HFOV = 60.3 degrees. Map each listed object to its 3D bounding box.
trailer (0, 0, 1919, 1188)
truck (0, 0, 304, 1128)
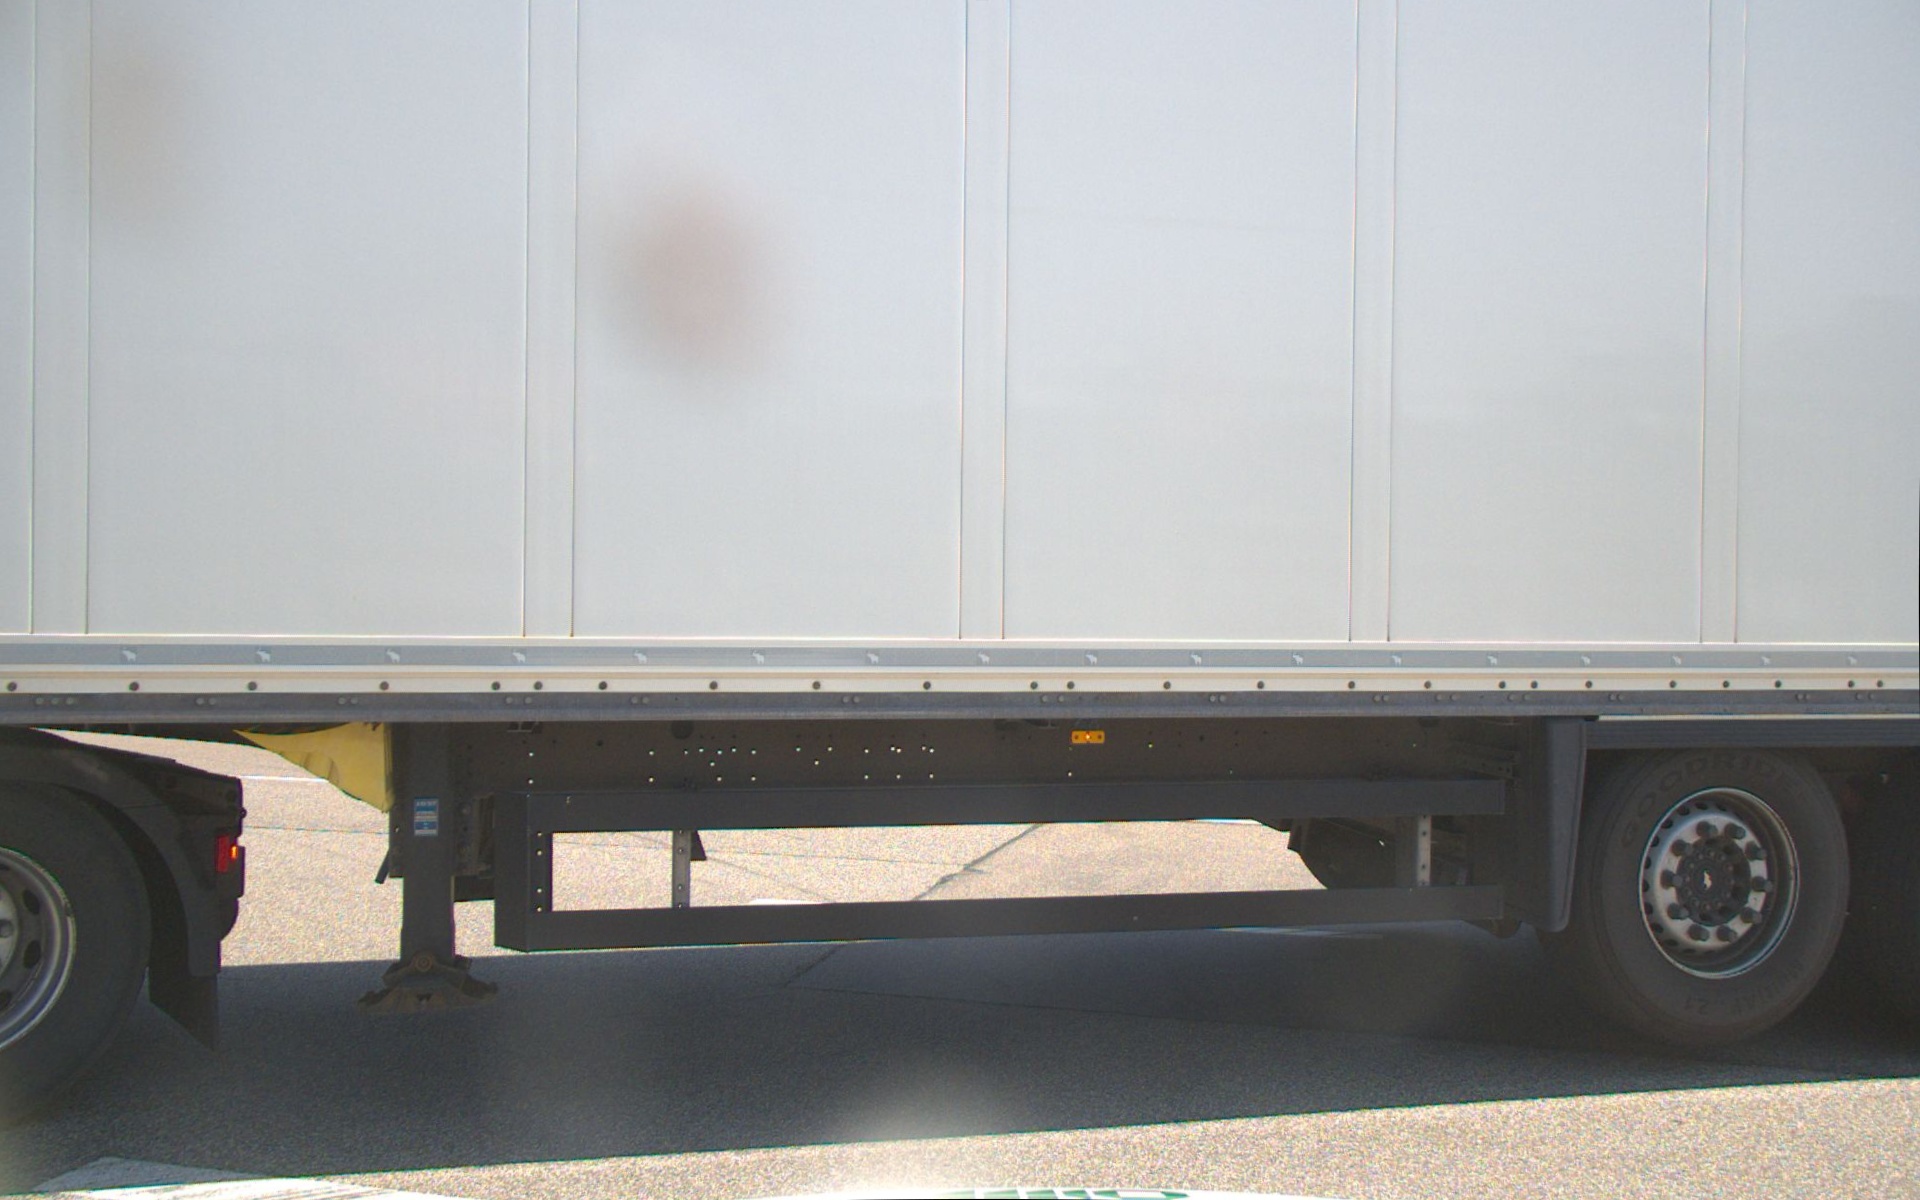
[{"bbox_3d":[1.048,-0.695,6.176,13.687,4.238,2.888,0,0,-12],"label":"trailer"},{"bbox_3d":[-5.053,-0.727,3.945,5.921,4.246,2.835,0,0,-42],"label":"truck"}]
